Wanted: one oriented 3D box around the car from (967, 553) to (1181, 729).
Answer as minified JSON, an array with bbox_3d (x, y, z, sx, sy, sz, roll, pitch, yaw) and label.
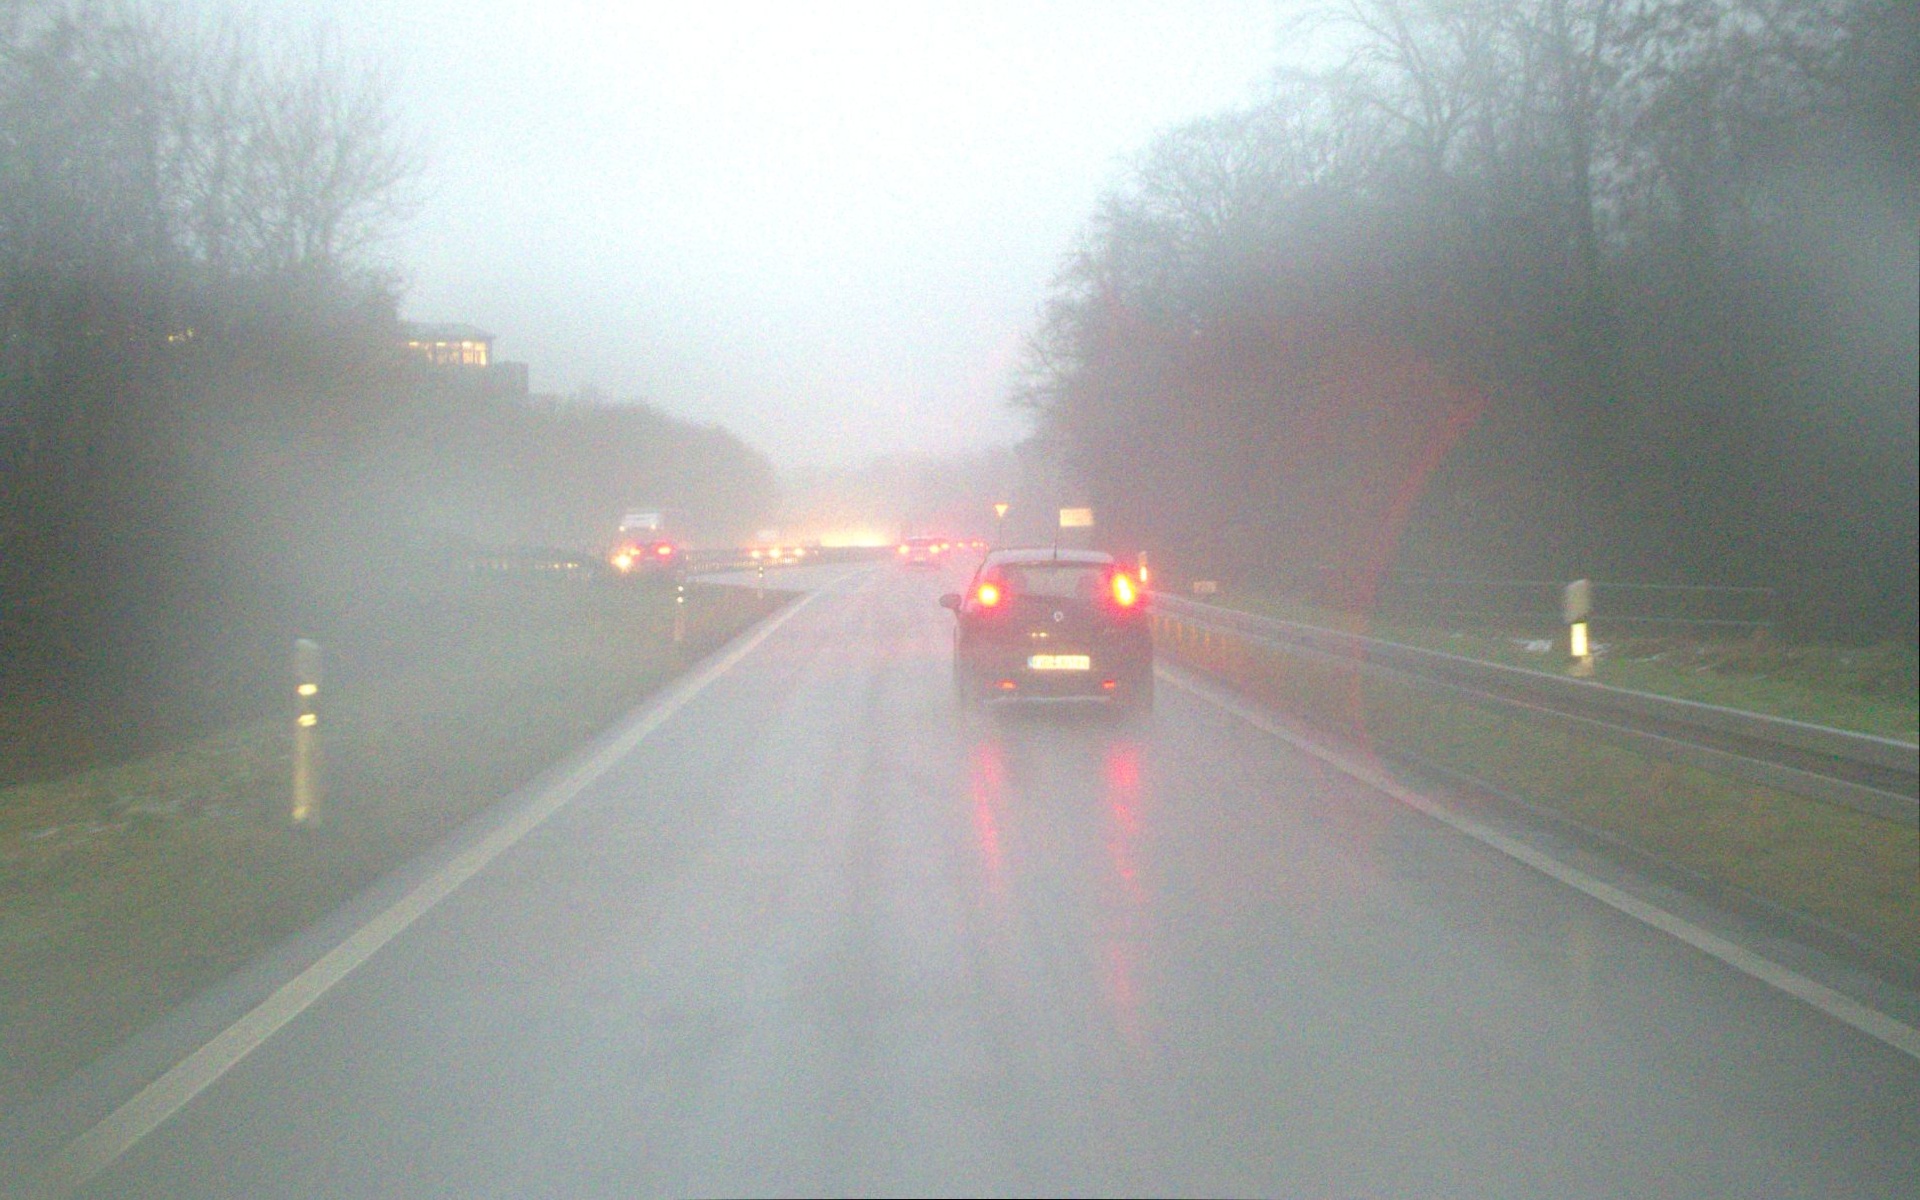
[{"bbox_3d":[0.979,0.327,31.262,1.732,1.424,3.765,3,1,0],"label":"car"}]
